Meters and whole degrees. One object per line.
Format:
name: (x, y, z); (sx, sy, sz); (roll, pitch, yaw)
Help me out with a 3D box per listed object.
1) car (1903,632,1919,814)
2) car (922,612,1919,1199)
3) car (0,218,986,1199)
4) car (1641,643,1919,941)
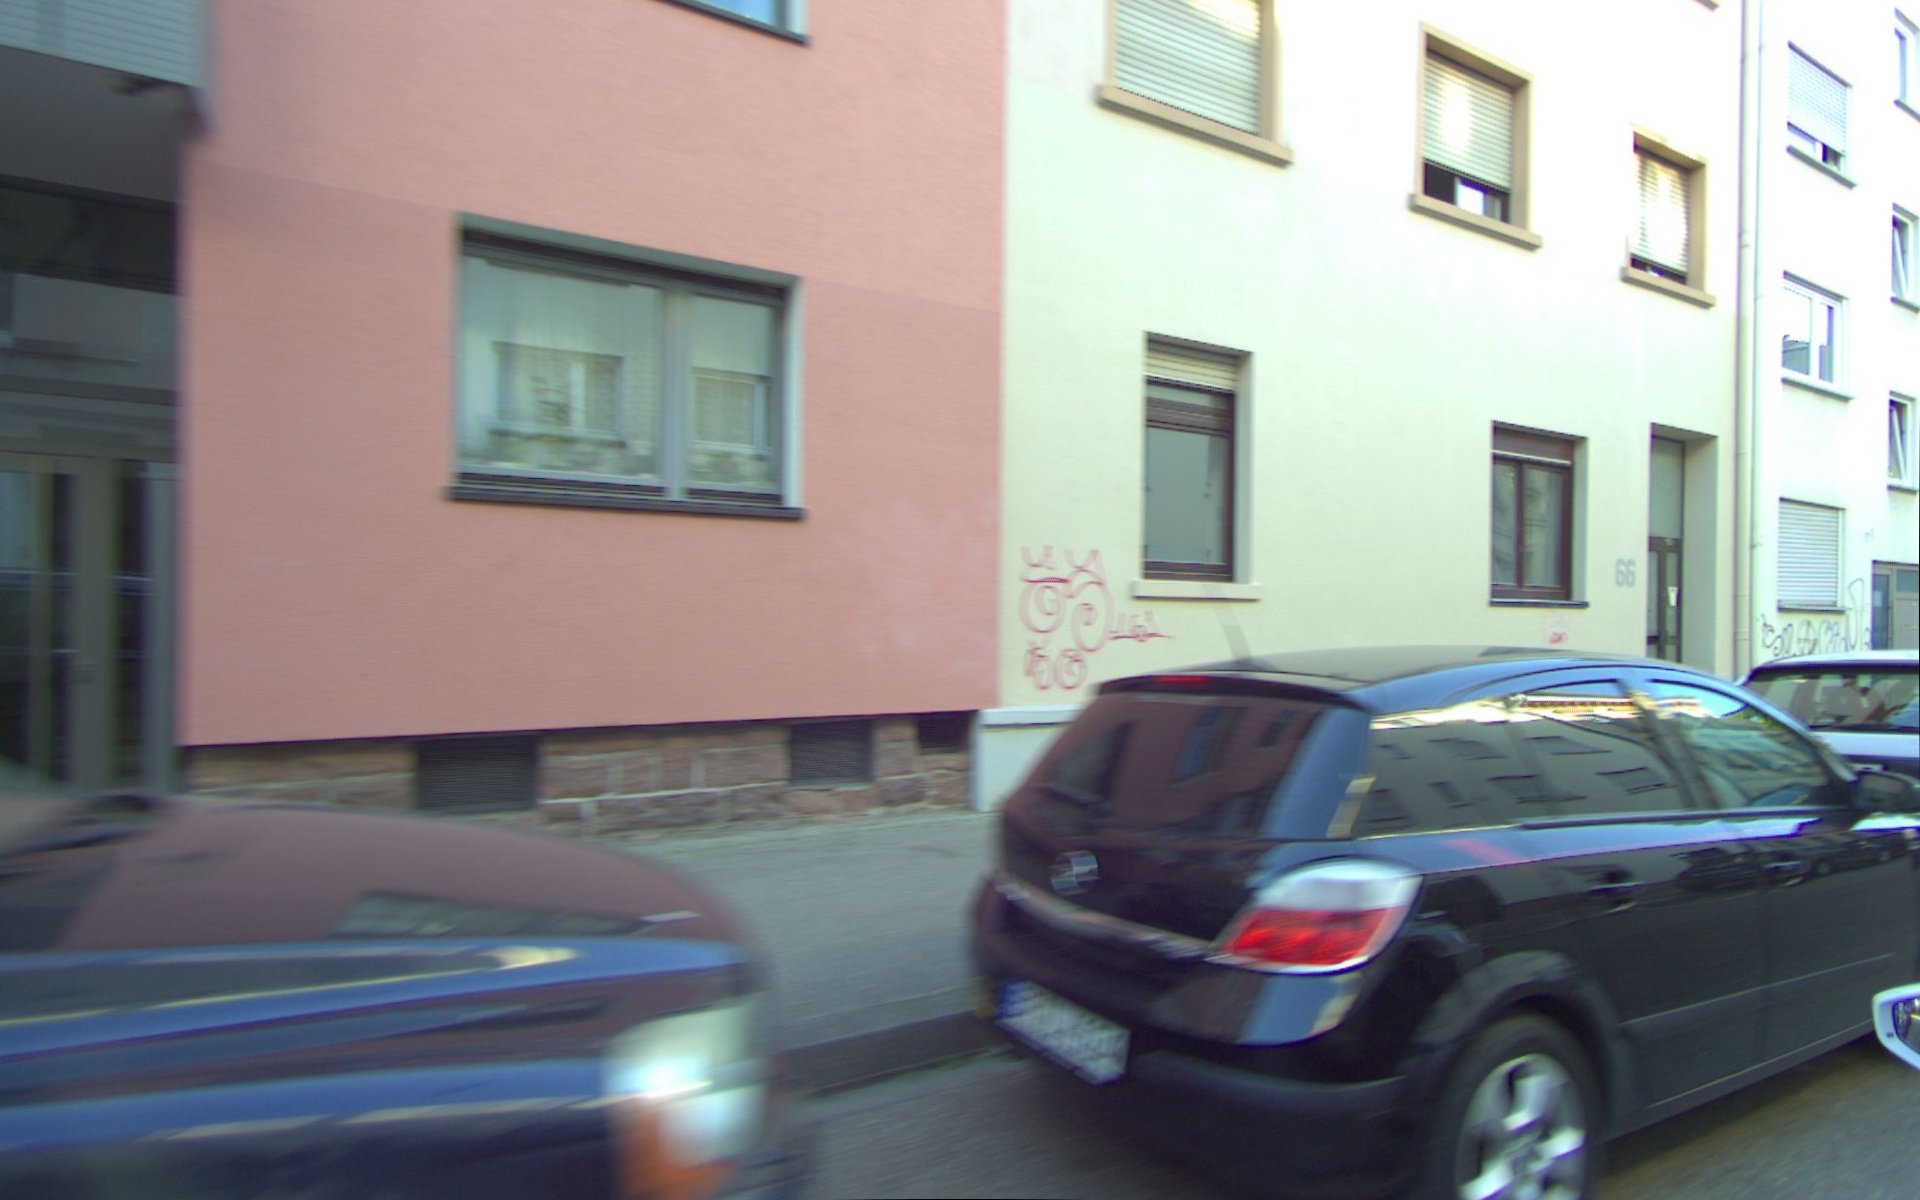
car: (9.997, 1.010, 8.445); (3.937, 1.505, 1.669); (1, -2, -25)
car: (2.158, 0.845, 3.668); (4.292, 1.526, 1.736); (1, -2, -29)
car: (-2.390, 0.595, 0.983); (4.614, 1.835, 1.736); (1, -2, -29)
car: (6.221, 0.987, 6.259); (4.133, 1.406, 1.665); (1, -2, -31)
